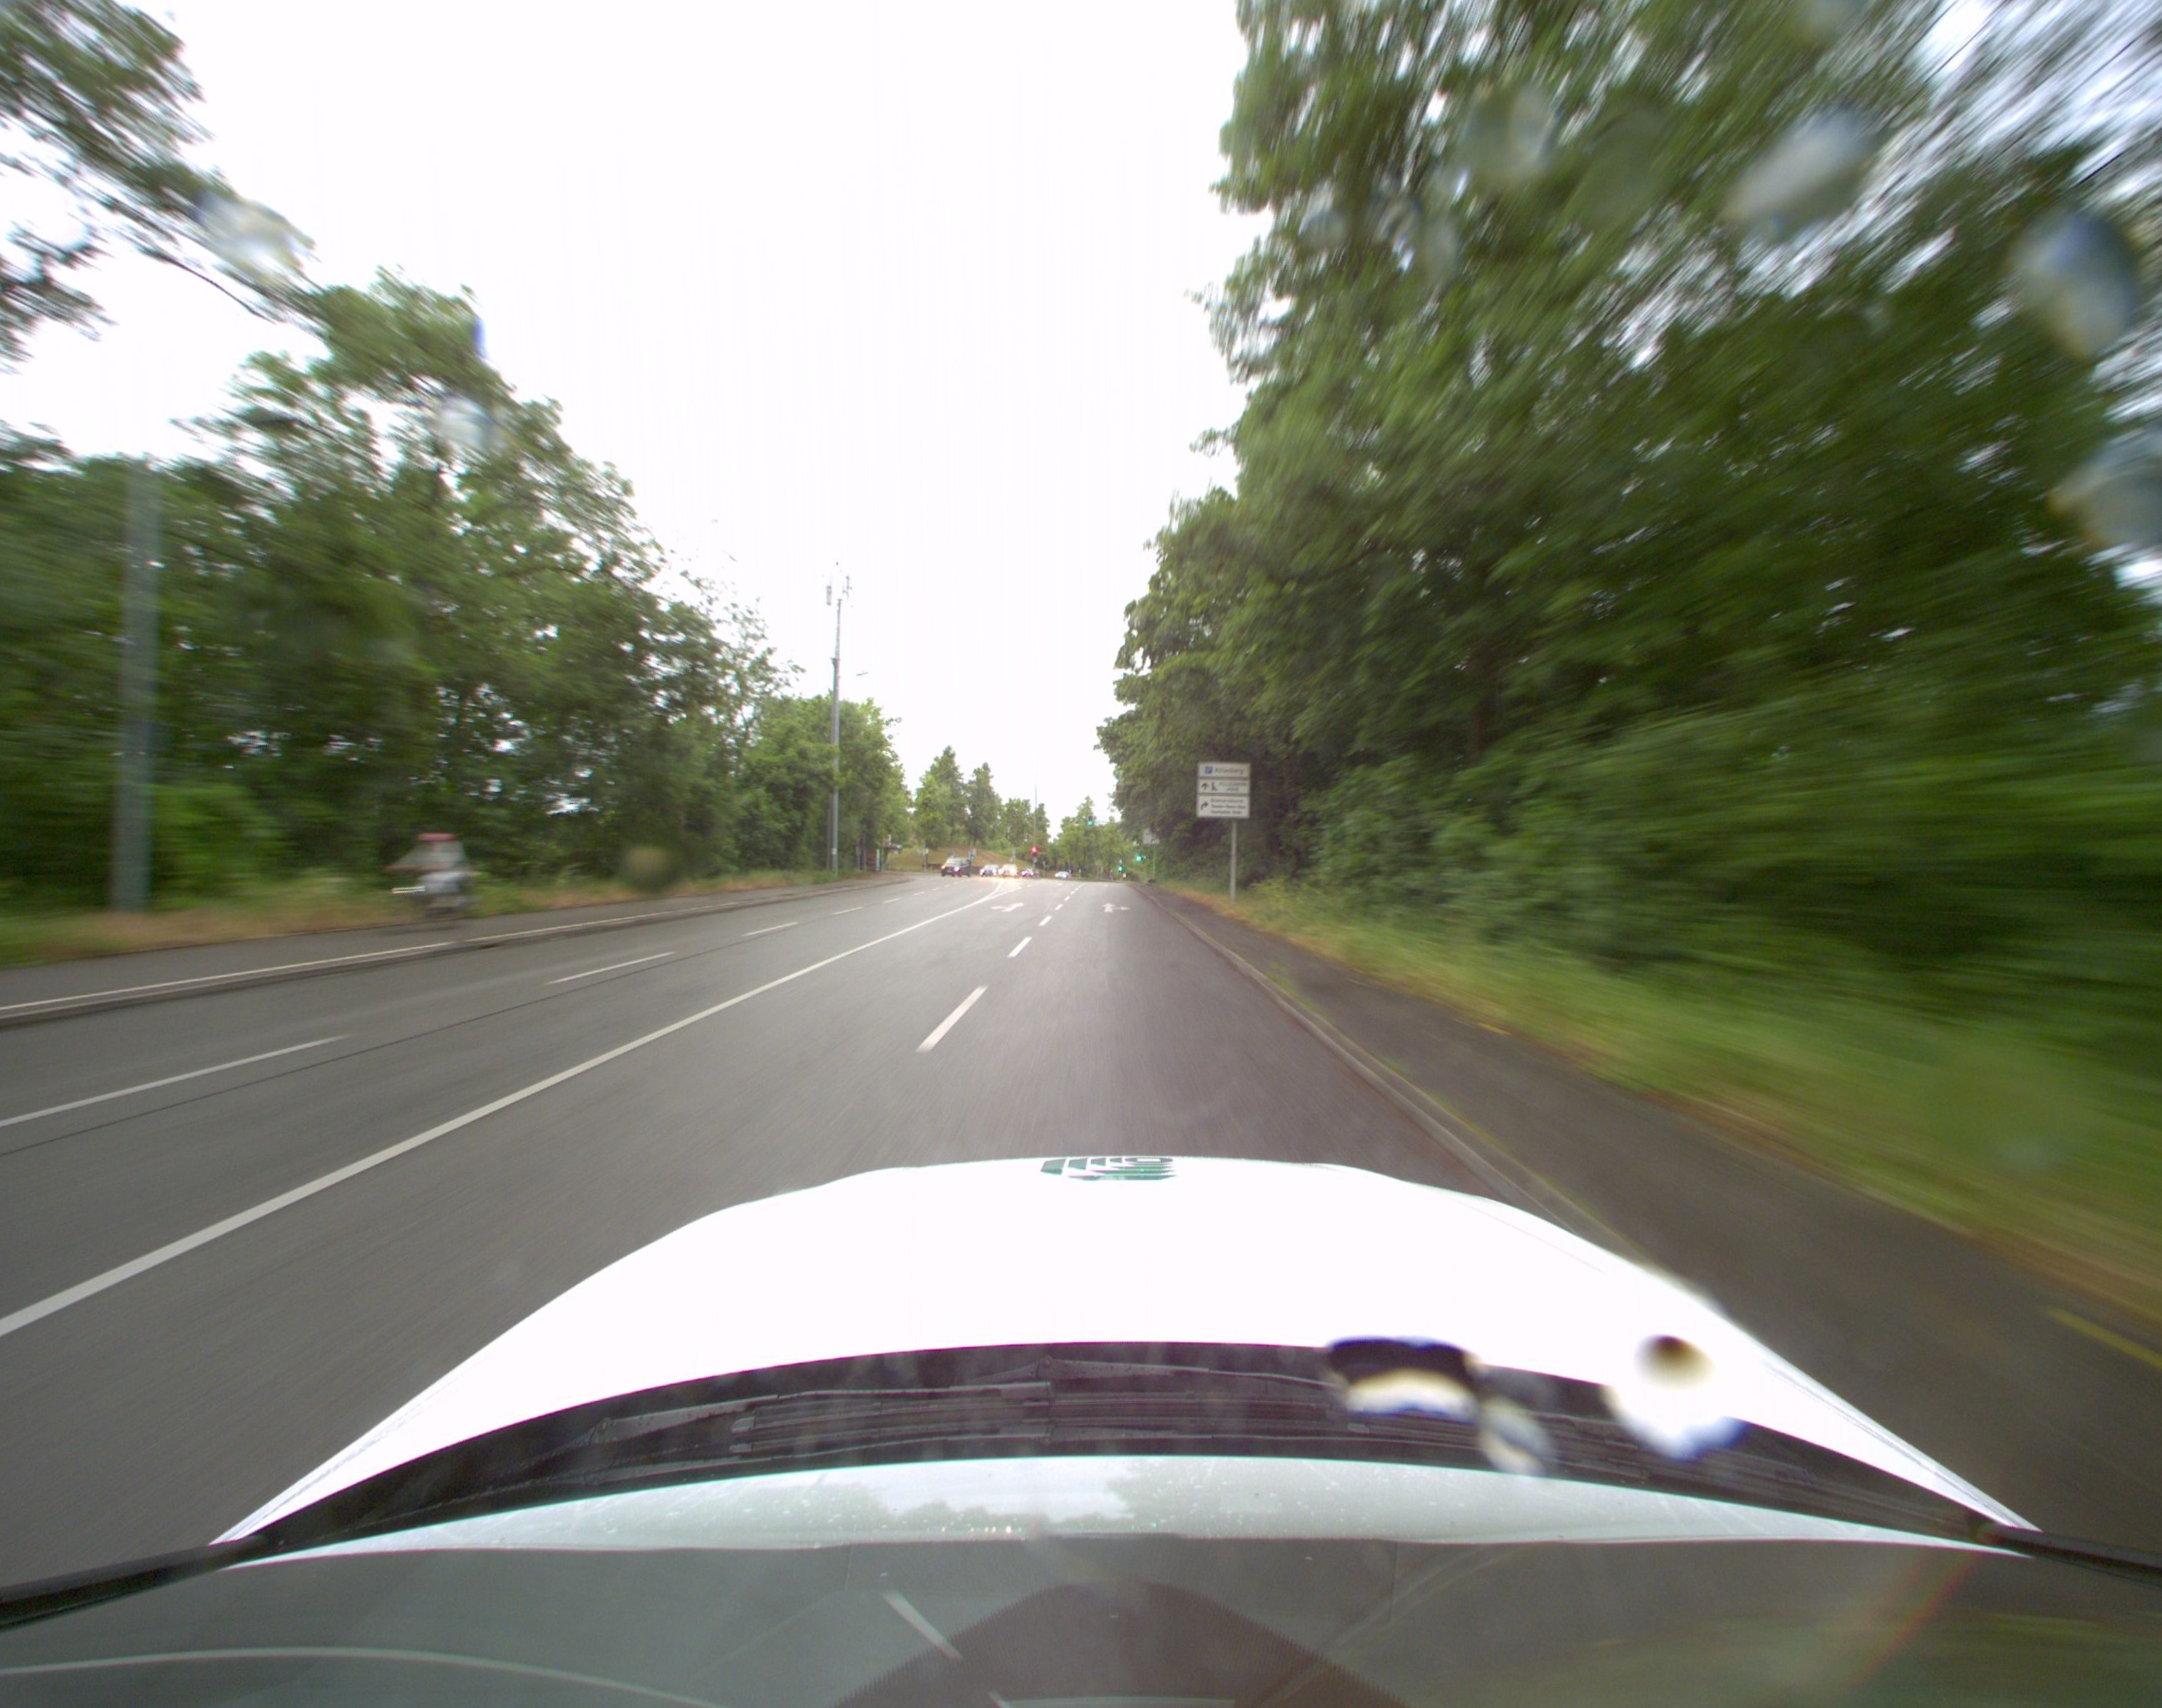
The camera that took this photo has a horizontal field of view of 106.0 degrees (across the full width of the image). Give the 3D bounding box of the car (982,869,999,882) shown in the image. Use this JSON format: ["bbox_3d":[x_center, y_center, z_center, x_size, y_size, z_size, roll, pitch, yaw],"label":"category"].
[{"bbox_3d":[-10.040,2.329,90.317,1.627,1.394,3.995,1,-1,-3],"label":"car"}]

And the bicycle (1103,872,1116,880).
[{"bbox_3d":[4.481,3.548,128.576,2.151,1.143,0.547,5,-3,-41],"label":"bicycle"}]

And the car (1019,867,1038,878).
[{"bbox_3d":[-7.389,2.613,114.622,1.866,1.374,4.391,1,-1,6],"label":"car"}]

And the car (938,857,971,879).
[{"bbox_3d":[-12.318,1.374,79.575,2.094,1.946,5.162,4,-1,2],"label":"car"}]

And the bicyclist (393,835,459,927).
[{"bbox_3d":[-11.690,0.474,14.554,0.576,1.586,0.701,-1,-1,7],"label":"bicyclist"}]

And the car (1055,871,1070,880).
[{"bbox_3d":[-3.012,3.523,134.656,1.984,1.491,3.942,-1,-1,5],"label":"car"}]

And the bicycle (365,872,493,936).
[{"bbox_3d":[-11.689,0.866,14.694,0.450,1.004,2.021,2,0,7],"label":"bicycle"}]

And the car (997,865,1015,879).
[{"bbox_3d":[-7.713,1.833,83.517,1.697,1.427,4.072,2,-1,-4],"label":"car"}]

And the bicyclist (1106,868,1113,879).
[{"bbox_3d":[4.477,3.081,128.630,0.805,1.753,0.716,6,-7,-41],"label":"bicyclist"}]
